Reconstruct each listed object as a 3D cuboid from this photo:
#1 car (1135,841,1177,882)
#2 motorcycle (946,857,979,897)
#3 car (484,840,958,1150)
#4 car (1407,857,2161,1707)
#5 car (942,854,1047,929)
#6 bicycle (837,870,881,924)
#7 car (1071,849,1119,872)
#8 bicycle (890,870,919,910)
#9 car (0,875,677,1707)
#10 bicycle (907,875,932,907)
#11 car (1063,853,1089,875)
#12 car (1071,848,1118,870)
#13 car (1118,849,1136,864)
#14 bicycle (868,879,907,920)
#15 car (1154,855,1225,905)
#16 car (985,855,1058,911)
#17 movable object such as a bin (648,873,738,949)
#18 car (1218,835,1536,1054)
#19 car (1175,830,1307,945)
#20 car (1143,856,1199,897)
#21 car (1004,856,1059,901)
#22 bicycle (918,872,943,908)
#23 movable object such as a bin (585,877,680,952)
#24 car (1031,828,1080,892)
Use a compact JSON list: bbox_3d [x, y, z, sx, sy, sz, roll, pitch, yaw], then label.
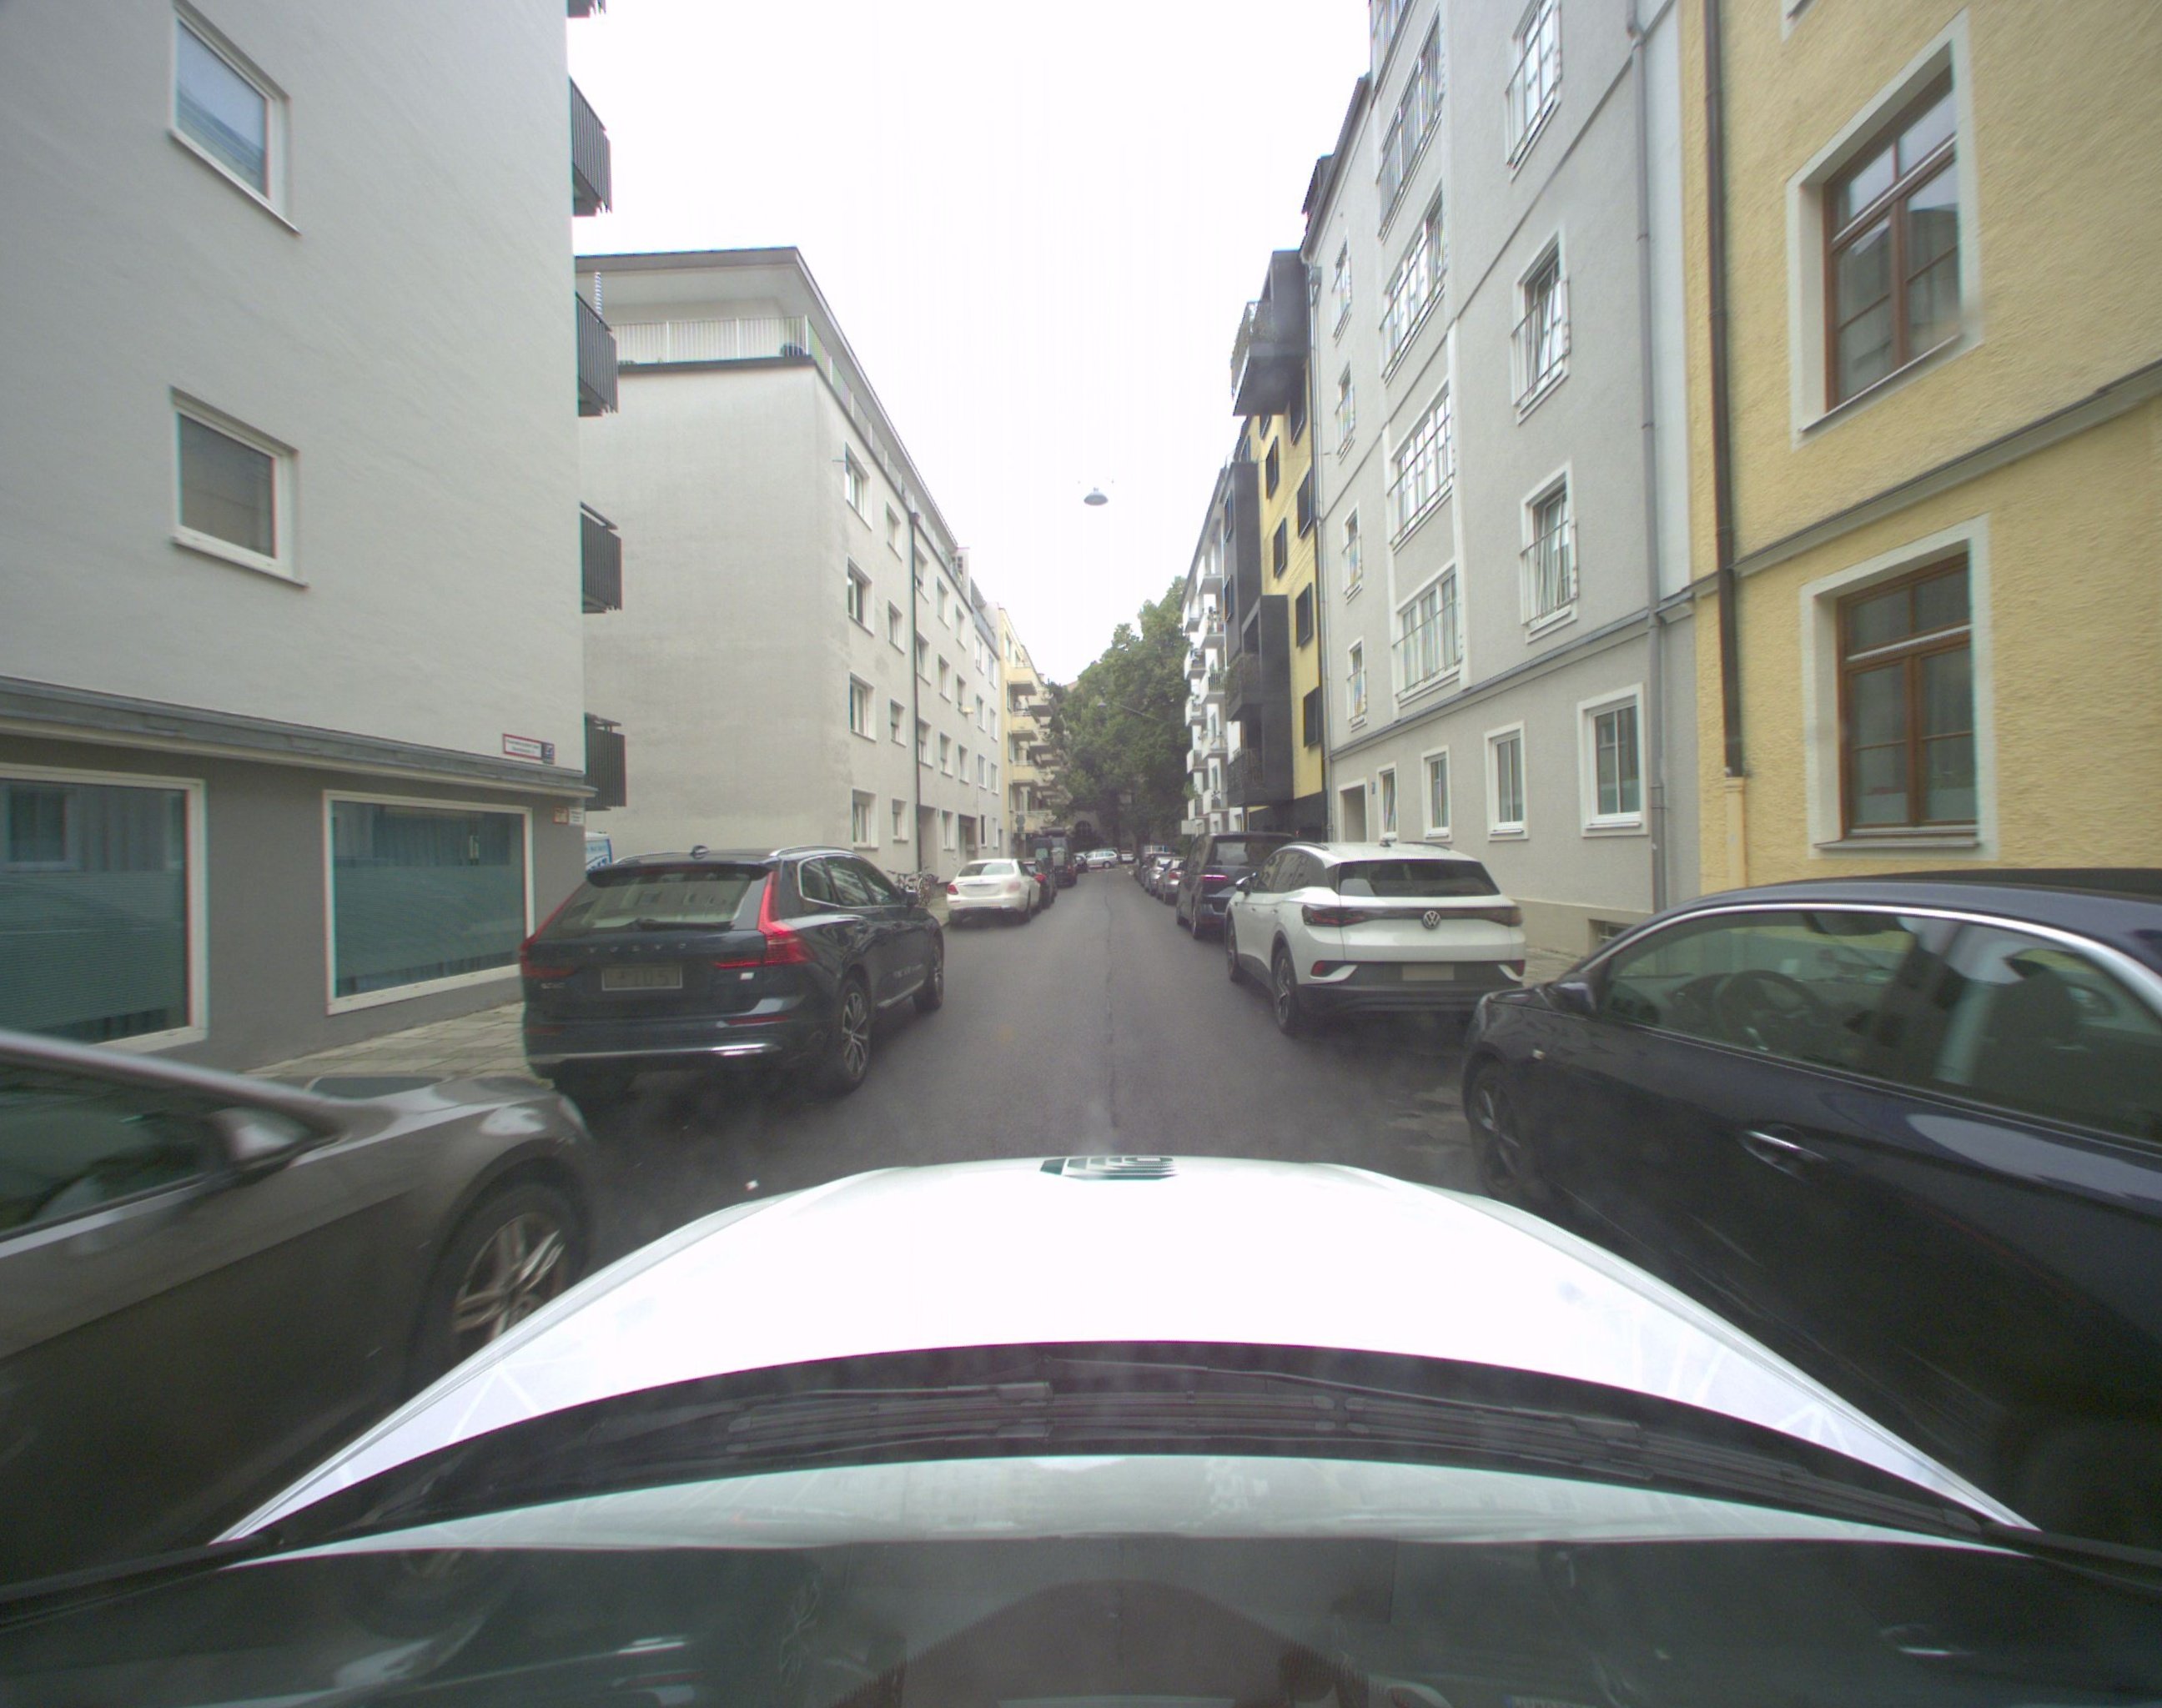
[{"bbox_3d":[3.826,0.378,42.294,1.822,1.999,4.417,1,0,1],"label":"car"},{"bbox_3d":[-4.301,0.809,29.728,0.677,1.350,2.488,-1,0,3],"label":"motorcycle"},{"bbox_3d":[-2.321,0.770,6.695,1.770,1.629,4.416,-3,0,1],"label":"car"},{"bbox_3d":[2.582,0.773,2.663,1.657,1.469,3.822,1,0,3],"label":"car"},{"bbox_3d":[-1.965,0.802,19.845,1.770,1.487,4.522,-4,0,2],"label":"car"},{"bbox_3d":[-5.193,0.978,19.182,0.394,1.067,2.134,0,2,1],"label":"bicycle"},{"bbox_3d":[1.183,0.514,68.125,3.873,1.584,1.648,-4,0,0],"label":"car"},{"bbox_3d":[-4.951,0.992,22.931,0.394,1.051,1.760,0,0,1],"label":"bicycle"},{"bbox_3d":[-2.446,0.843,1.144,1.687,1.442,3.977,-3,0,0],"label":"car"},{"bbox_3d":[-4.895,1.109,24.763,0.394,0.869,1.614,0,0,1],"label":"bicycle"},{"bbox_3d":[-0.328,0.668,58.221,1.636,1.383,3.483,-4,0,1],"label":"car"},{"bbox_3d":[1.167,0.462,70.079,3.873,1.584,1.648,-4,0,0],"label":"car"},{"bbox_3d":[4.767,0.218,85.072,1.636,1.383,3.747,-4,0,1],"label":"car"},{"bbox_3d":[-4.760,1.098,20.160,0.394,0.869,2.133,0,0,2],"label":"bicycle"},{"bbox_3d":[3.476,0.779,26.747,1.822,1.454,4.417,1,0,1],"label":"car"},{"bbox_3d":[-1.745,0.822,25.076,1.770,1.452,4.047,-4,0,1],"label":"car"},{"bbox_3d":[-7.542,1.091,15.881,1.152,1.337,0.994,-4,0,4],"label":"movable object such as a bin"},{"bbox_3d":[2.528,0.647,8.146,1.676,1.567,4.417,1,0,2],"label":"car"},{"bbox_3d":[2.920,0.549,15.785,1.822,1.910,4.417,0,0,2],"label":"car"},{"bbox_3d":[3.543,0.850,32.613,1.822,1.454,4.417,1,0,1],"label":"car"},{"bbox_3d":[-1.773,0.853,30.009,1.636,1.452,3.163,-4,0,1],"label":"car"},{"bbox_3d":[-4.416,1.046,23.934,0.394,0.982,1.656,0,0,1],"label":"bicycle"},{"bbox_3d":[-8.823,1.175,16.064,1.225,1.337,0.994,-4,0,4],"label":"movable object such as a bin"},{"bbox_3d":[-1.180,0.269,39.548,1.930,2.801,4.534,-4,0,1],"label":"car"}]
